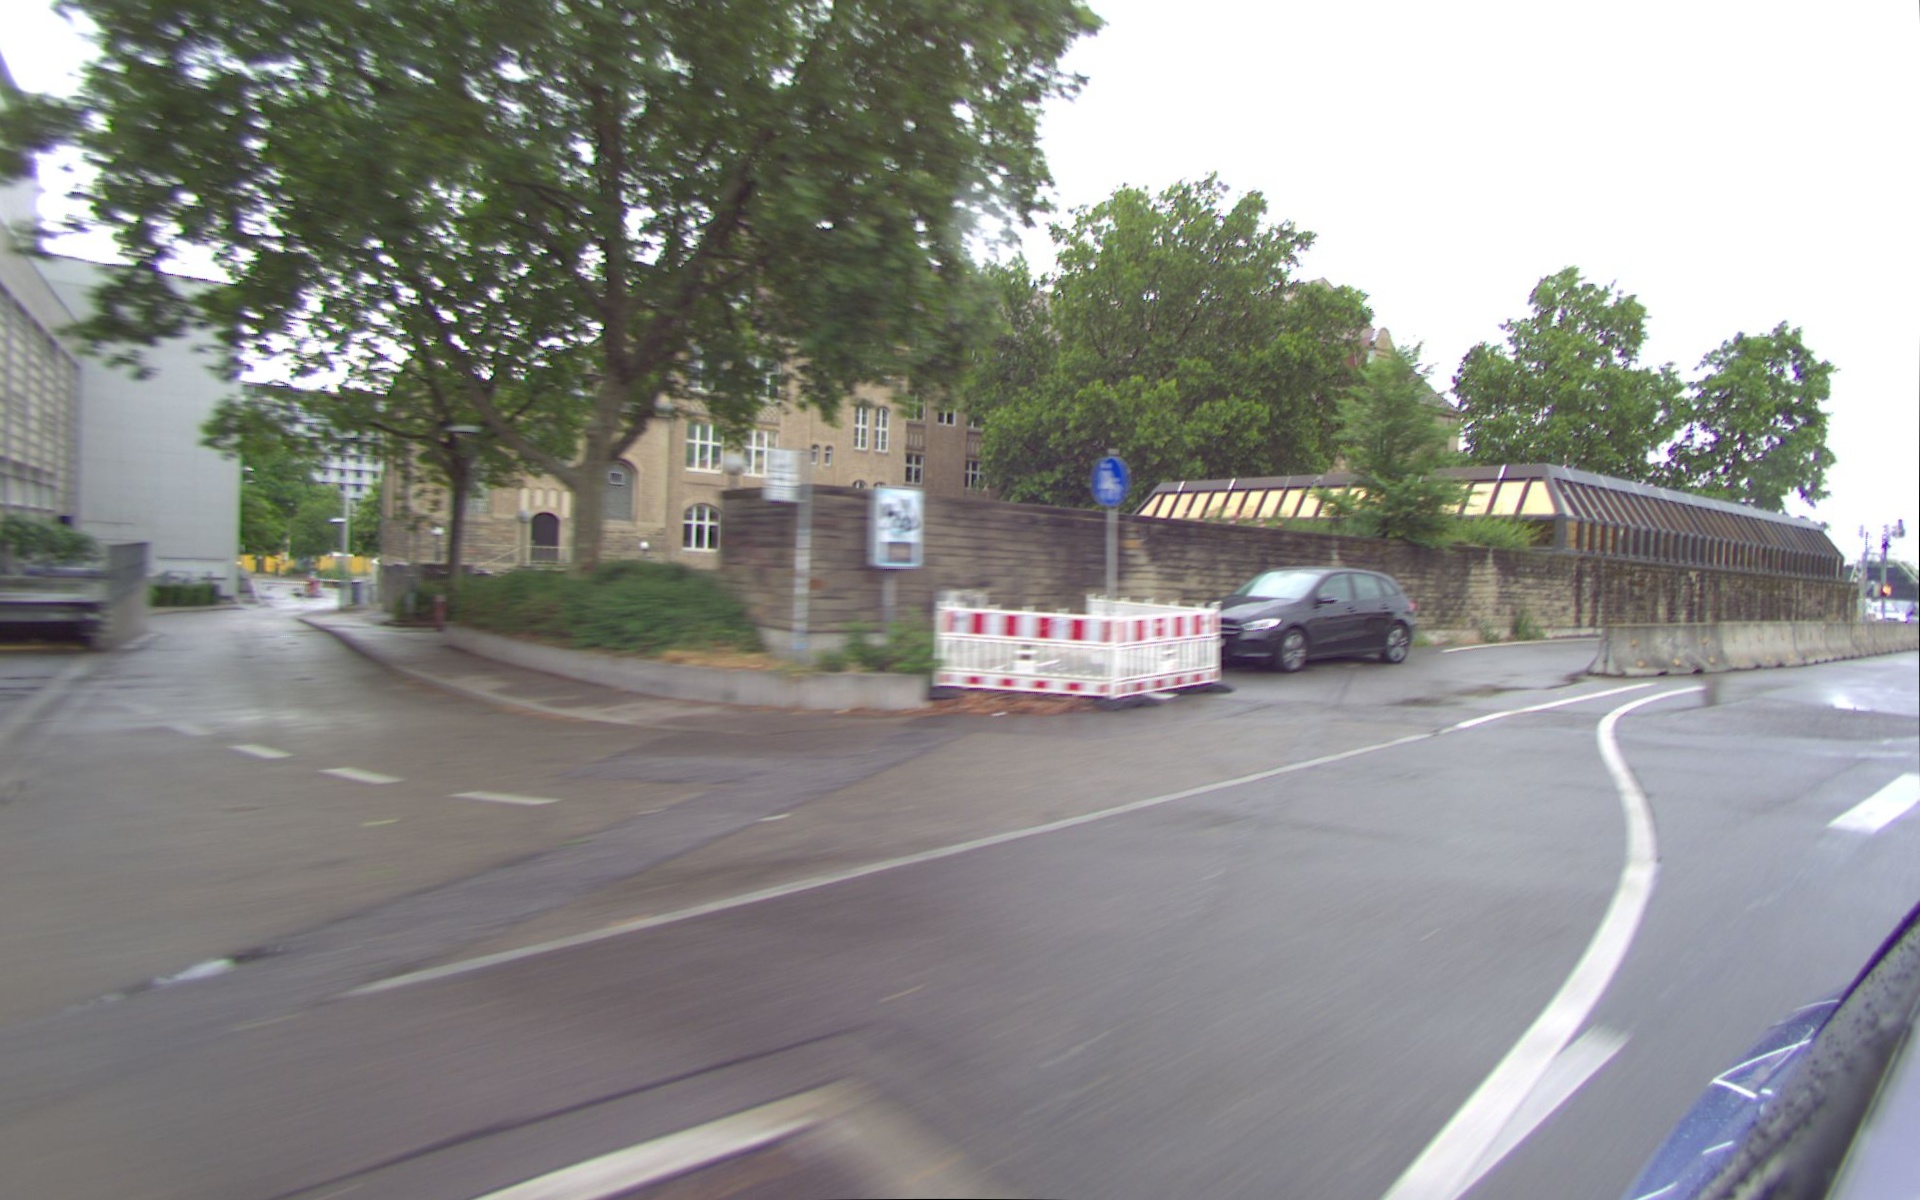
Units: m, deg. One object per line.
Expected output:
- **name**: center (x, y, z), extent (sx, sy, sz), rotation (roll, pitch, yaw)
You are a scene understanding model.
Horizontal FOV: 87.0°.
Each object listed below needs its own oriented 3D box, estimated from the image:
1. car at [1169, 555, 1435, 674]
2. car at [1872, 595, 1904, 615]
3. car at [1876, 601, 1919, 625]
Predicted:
- **car**: center (5.555, 0.124, 16.293), extent (4.243, 1.570, 1.812), rotation (-2, 6, -34)
- **car**: center (87.131, 0.458, 95.055), extent (1.991, 1.794, 4.294), rotation (1, 1, 40)
- **car**: center (82.756, 1.142, 89.202), extent (1.983, 2.039, 4.376), rotation (2, 1, 30)
